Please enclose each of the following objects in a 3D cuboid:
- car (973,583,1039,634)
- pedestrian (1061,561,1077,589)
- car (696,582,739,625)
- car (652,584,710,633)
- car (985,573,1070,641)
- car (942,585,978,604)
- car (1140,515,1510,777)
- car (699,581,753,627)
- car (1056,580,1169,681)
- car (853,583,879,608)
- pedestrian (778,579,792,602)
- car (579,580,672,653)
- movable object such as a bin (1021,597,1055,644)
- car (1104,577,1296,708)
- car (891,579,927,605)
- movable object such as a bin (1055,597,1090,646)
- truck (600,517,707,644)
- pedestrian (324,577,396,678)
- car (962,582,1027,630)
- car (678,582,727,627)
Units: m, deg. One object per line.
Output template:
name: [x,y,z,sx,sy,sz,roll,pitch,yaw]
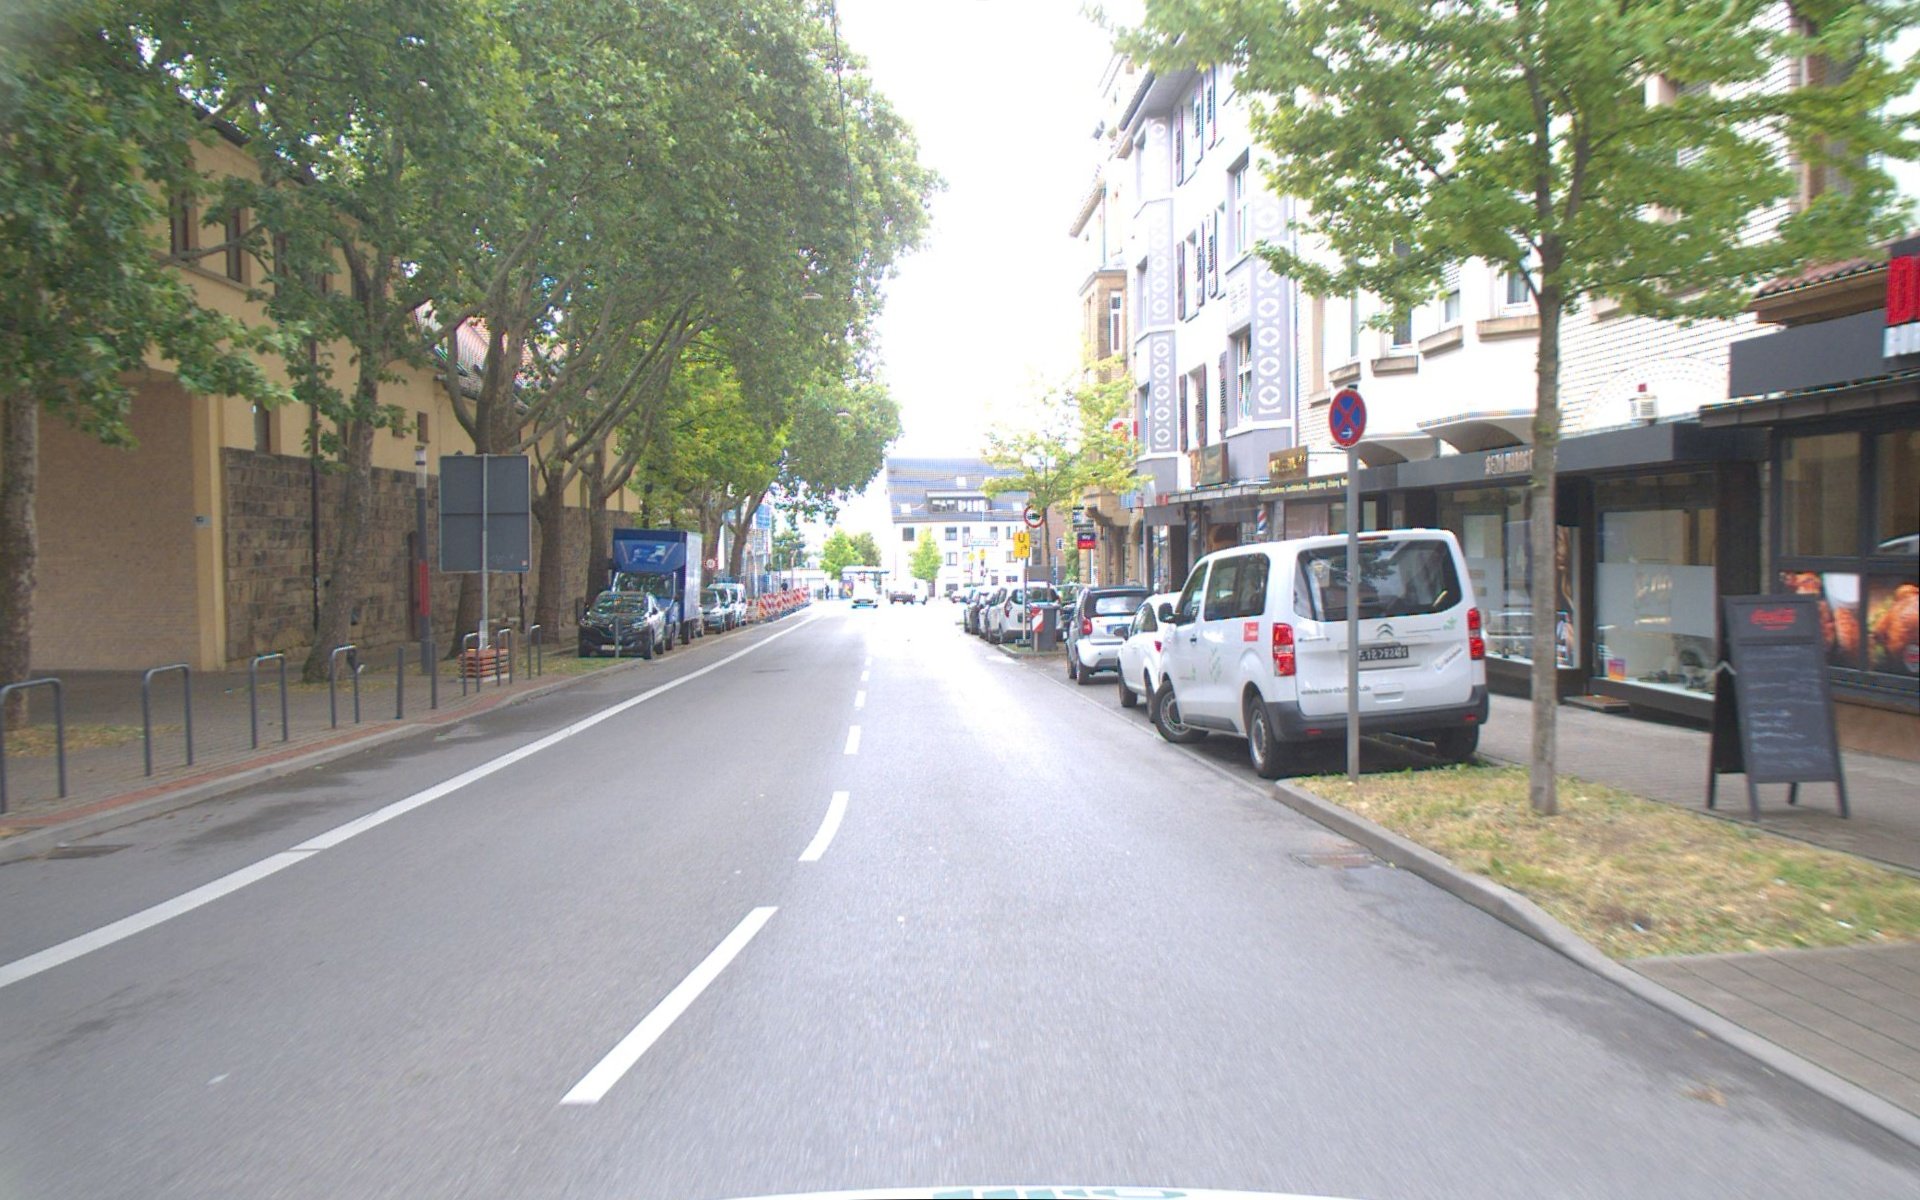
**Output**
car: [1.355,0.230,50.193,1.574,1.421,4.273,-3,1,-3]
pedestrian: [7.024,-1.581,106.509,0.704,1.765,0.652,2,-1,-36]
car: [-9.842,0.156,67.260,1.479,1.660,4.111,1,0,-5]
car: [-9.440,0.275,56.096,1.450,1.601,2.991,1,0,-1]
car: [1.799,0.155,45.374,1.646,1.692,4.539,-3,1,-5]
car: [0.000,-0.520,143.165,1.622,1.489,3.999,-3,0,23]
car: [3.127,0.332,15.360,1.869,1.964,4.914,-2,1,-6]
car: [-10.281,0.165,72.920,1.797,1.909,4.415,-2,0,-2]
car: [2.558,0.467,28.357,1.452,1.561,3.521,-2,1,-2]
car: [-6.063,-0.311,106.755,1.551,1.489,3.650,-3,0,-2]
pedestrian: [-13.570,-0.742,128.173,0.904,1.750,0.798,1,-1,0]
car: [-8.407,0.396,41.845,1.697,1.718,4.249,1,0,-3]
movable object such as a bin: [1.764,0.466,37.424,0.611,1.042,0.695,-1,0,-10]
car: [2.956,0.466,21.129,1.650,1.440,4.040,-2,1,-3]
car: [-3.897,-0.644,127.900,2.158,1.965,5.243,0,0,5]
movable object such as a bin: [2.541,0.474,37.484,0.681,1.092,0.623,0,0,-6]
truck: [-8.996,-0.559,49.192,2.171,3.476,7.242,1,0,-3]
pedestrian: [-10.505,0.472,28.974,0.844,1.717,0.927,1,0,6]
car: [1.143,0.183,56.356,1.704,1.488,4.771,-3,1,-4]
car: [-9.659,0.178,62.259,1.563,1.601,4.082,1,0,-6]
